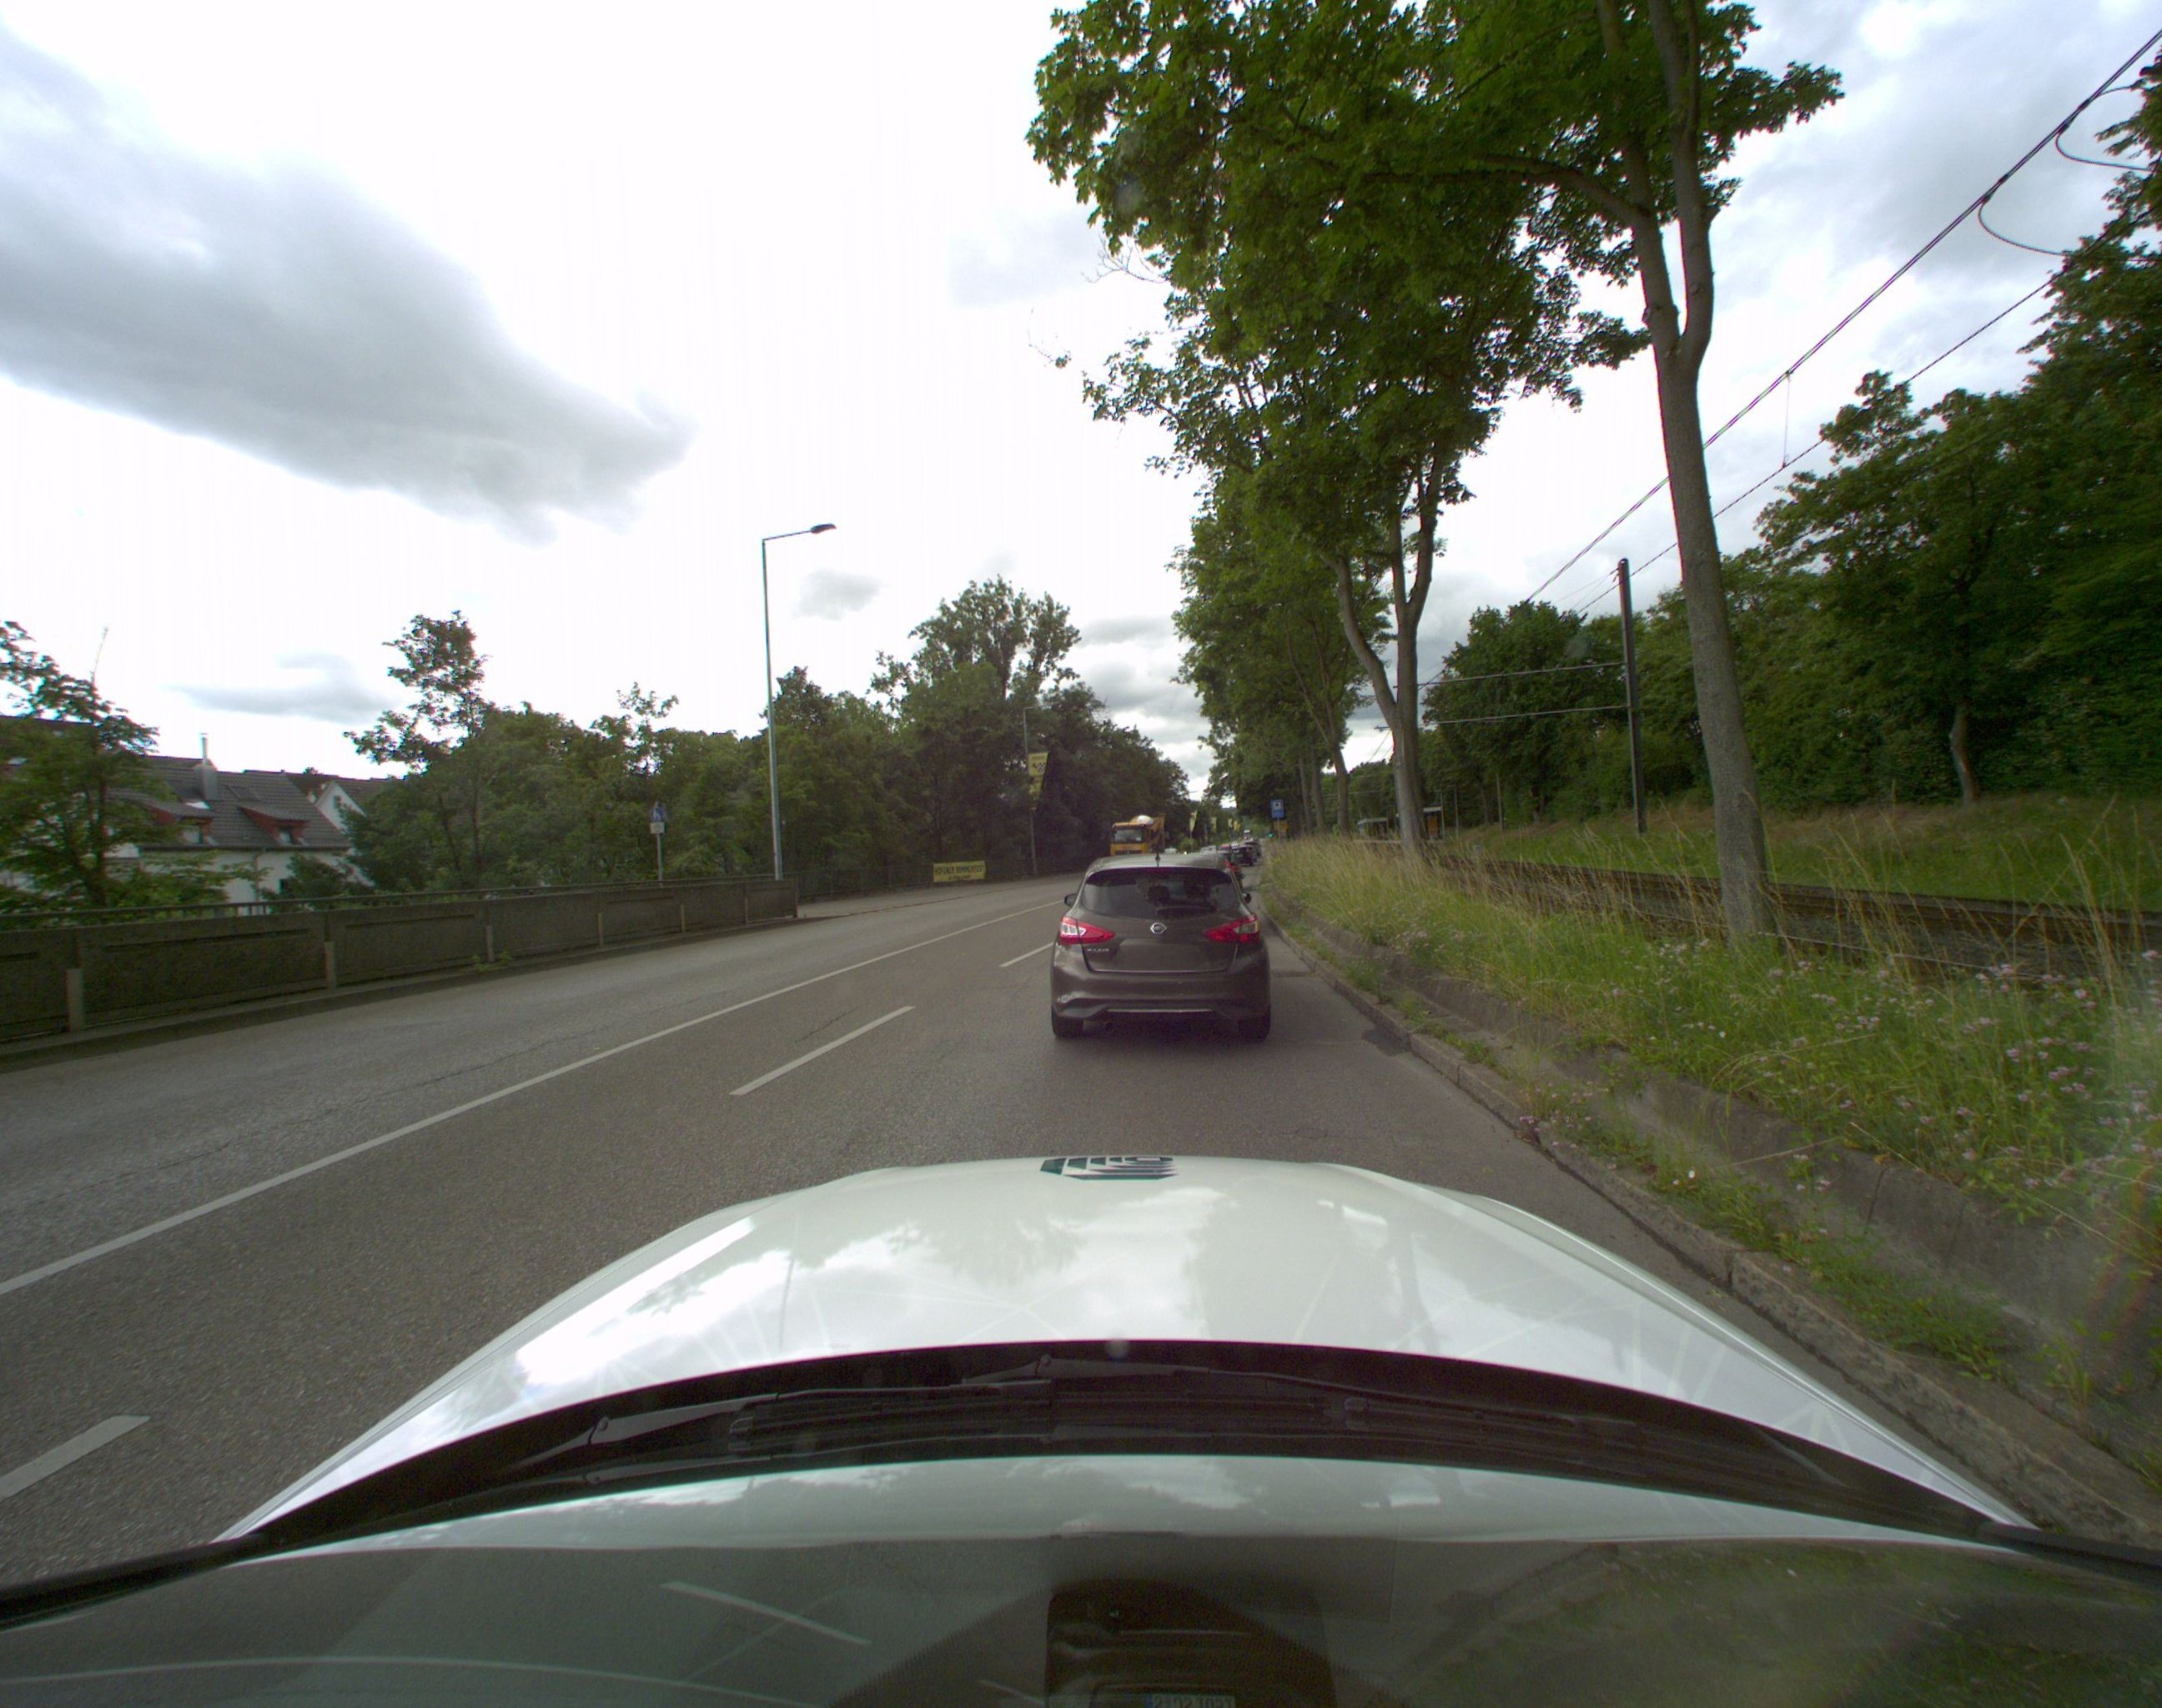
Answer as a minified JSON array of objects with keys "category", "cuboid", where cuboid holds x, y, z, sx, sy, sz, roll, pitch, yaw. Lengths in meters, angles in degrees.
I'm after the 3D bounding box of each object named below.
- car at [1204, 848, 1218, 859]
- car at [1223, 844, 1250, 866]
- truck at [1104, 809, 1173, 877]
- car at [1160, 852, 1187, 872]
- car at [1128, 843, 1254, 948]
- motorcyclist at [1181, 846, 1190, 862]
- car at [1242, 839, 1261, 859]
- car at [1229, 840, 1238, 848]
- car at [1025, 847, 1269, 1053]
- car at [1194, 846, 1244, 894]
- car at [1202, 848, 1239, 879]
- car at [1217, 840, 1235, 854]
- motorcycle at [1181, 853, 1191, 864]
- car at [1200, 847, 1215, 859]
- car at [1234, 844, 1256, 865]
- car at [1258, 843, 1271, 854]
[{"category":"car","cuboid":[19.387,-0.050,121.332,1.805,1.462,4.015,-3,0,13]},{"category":"car","cuboid":[11.336,0.090,59.168,1.792,1.540,4.013,-1,-1,12]},{"category":"truck","cuboid":[3.950,-0.679,53.166,2.636,3.938,10.149,-2,0,14]},{"category":"car","cuboid":[7.714,0.626,67.592,1.755,1.479,4.014,-2,0,12]},{"category":"car","cuboid":[1.912,0.685,14.606,1.883,1.574,4.006,-2,-1,6]},{"category":"motorcyclist","cuboid":[10.480,-0.012,81.461,0.739,1.539,0.794,-2,0,14]},{"category":"car","cuboid":[18.544,-0.577,88.467,1.877,2.013,4.015,-2,0,13]},{"category":"car","cuboid":[33.997,-2.237,181.288,1.707,1.693,3.738,-3,-2,12]},{"category":"car","cuboid":[0.729,0.738,7.985,1.765,1.494,4.008,-1,-1,7]},{"category":"car","cuboid":[4.998,0.553,29.625,1.568,1.538,4.010,-3,-1,9]},{"category":"car","cuboid":[6.804,0.458,39.518,1.490,1.364,3.599,-3,-1,12]},{"category":"car","cuboid":[17.411,-0.842,97.613,1.838,1.486,4.437,-3,-1,14]},{"category":"motorcycle","cuboid":[10.485,0.399,81.427,0.739,1.033,1.895,-2,0,14]},{"category":"car","cuboid":[16.873,-0.145,108.636,1.709,1.442,4.013,-3,-2,12]},{"category":"car","cuboid":[14.544,0.069,72.084,1.707,1.693,4.013,-3,-2,12]},{"category":"car","cuboid":[27.456,-0.839,121.706,1.877,1.445,3.821,-2,0,13]}]
